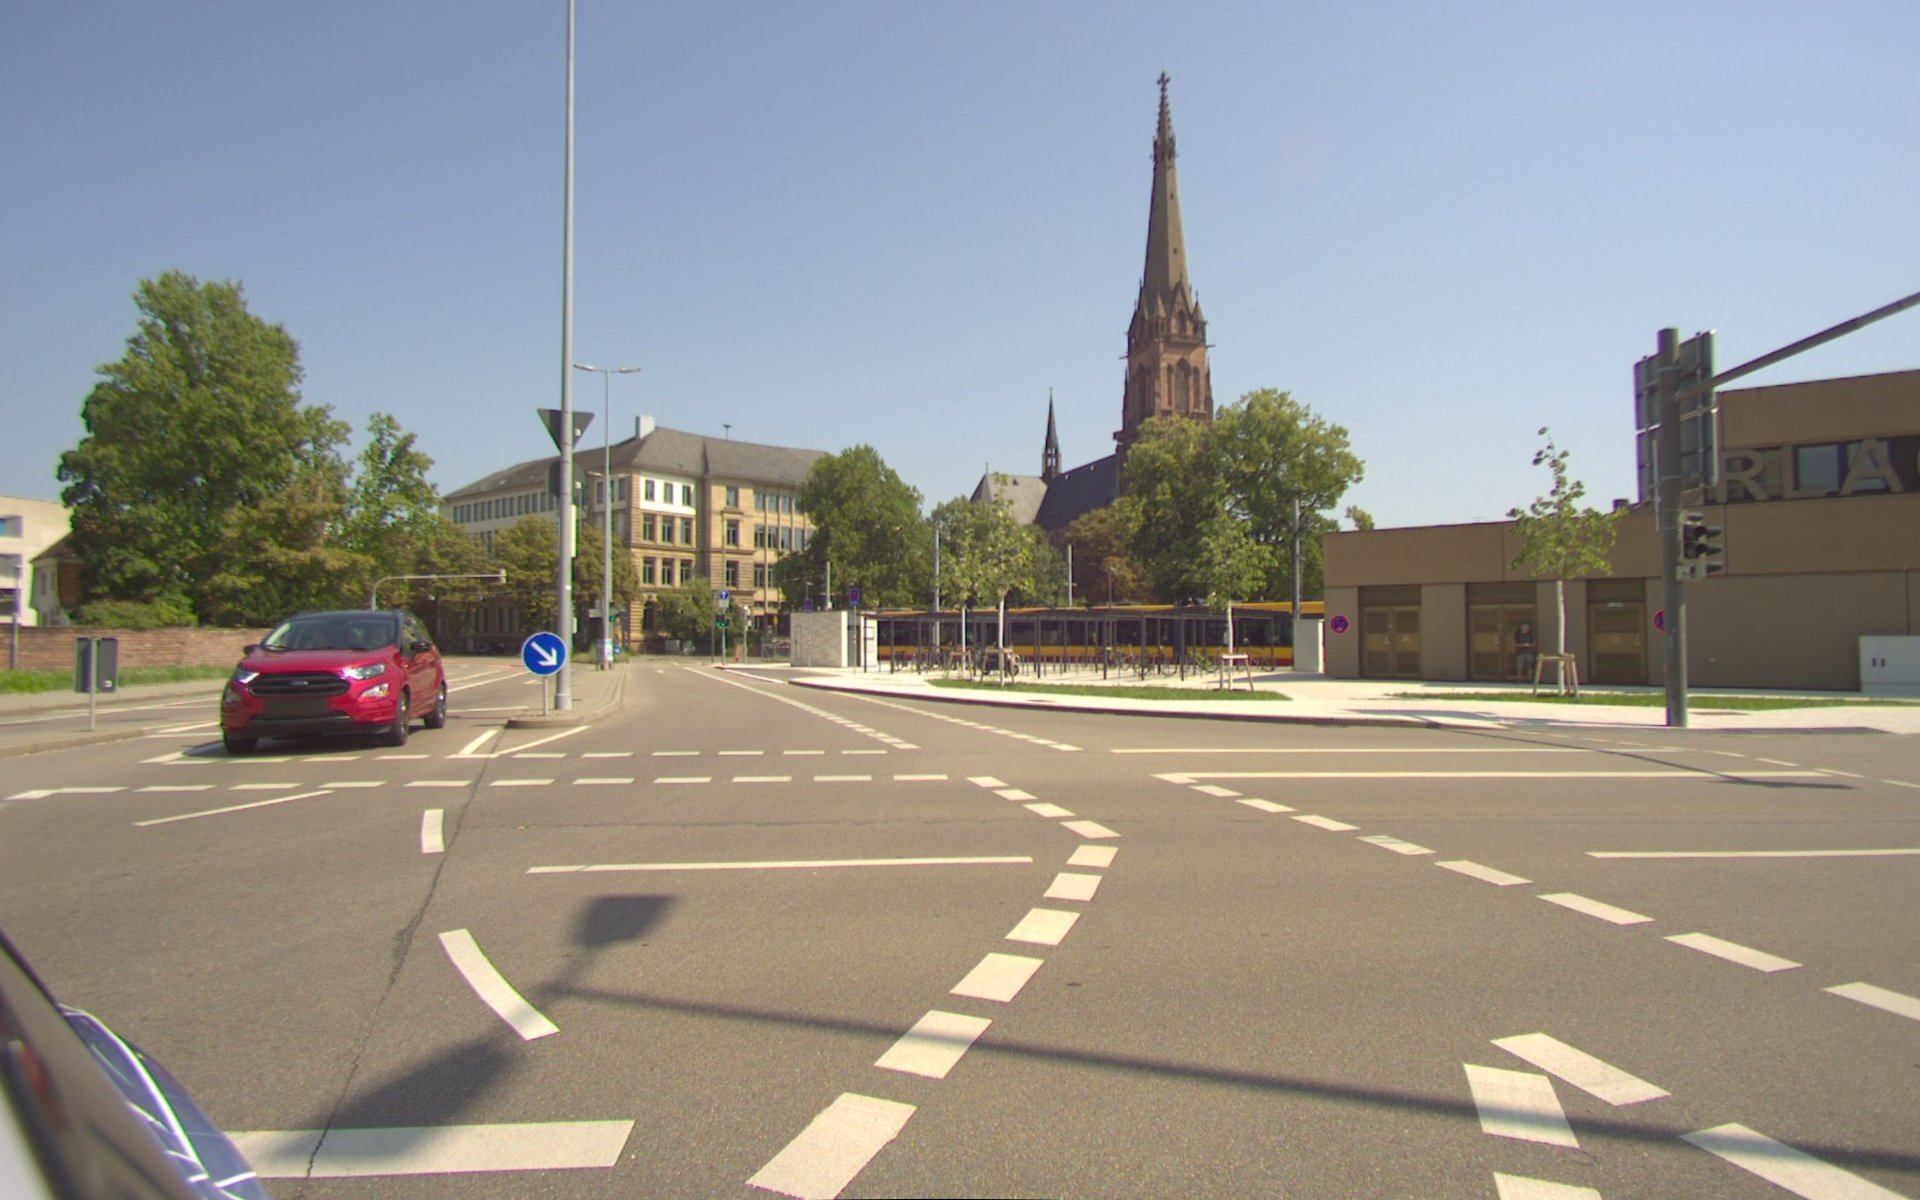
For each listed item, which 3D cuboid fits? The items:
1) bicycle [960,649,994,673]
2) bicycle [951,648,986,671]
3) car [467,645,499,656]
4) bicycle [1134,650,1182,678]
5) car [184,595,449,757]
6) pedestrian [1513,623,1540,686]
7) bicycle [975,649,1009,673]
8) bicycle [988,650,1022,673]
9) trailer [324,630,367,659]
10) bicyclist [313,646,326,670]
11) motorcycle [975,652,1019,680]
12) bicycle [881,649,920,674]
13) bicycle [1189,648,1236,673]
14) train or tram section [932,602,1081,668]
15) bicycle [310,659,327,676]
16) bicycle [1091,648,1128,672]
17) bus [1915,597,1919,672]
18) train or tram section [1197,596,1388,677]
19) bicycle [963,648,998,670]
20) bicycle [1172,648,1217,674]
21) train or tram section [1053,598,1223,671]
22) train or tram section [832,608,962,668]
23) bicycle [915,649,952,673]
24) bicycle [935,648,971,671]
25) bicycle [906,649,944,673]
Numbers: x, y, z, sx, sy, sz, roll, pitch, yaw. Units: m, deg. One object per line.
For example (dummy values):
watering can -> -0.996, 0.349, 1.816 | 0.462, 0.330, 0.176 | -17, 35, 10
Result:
bicycle -> 0.747, 2.708, 44.958 | 1.639, 1.048, 0.407 | -3, -4, 39
bicycle -> 0.392, 2.836, 48.299 | 1.768, 1.048, 0.520 | -3, -4, 39
car -> -51.906, 5.493, 110.195 | 1.247, 1.185, 3.025 | -2, -3, 32
bicycle -> 7.526, 2.430, 38.456 | 1.728, 1.048, 0.508 | -2, -4, 30
car -> -7.573, 0.847, 12.368 | 1.814, 1.627, 4.012 | 1, -2, -19
pedestrian -> 15.508, 1.492, 27.695 | 0.535, 1.691, 0.562 | -2, -3, 36
bicycle -> 1.453, 2.739, 45.704 | 1.639, 1.048, 0.407 | -3, -4, 39
bicycle -> 2.082, 2.833, 46.890 | 1.639, 1.048, 0.407 | -3, -4, 39
trailer -> -71.609, 5.178, 117.965 | 5.076, 3.313, 2.413 | -2, -3, 35
bicyclist -> -32.814, 2.968, 51.821 | 0.425, 1.242, 0.542 | 1, -3, -21
motorcycle -> 1.448, 2.602, 39.842 | 1.777, 1.077, 0.485 | -3, -4, 39
bicycle -> -2.616, 2.689, 44.567 | 1.863, 1.090, 0.520 | -3, -4, 39
bicycle -> 10.554, 2.531, 42.367 | 1.852, 0.993, 0.507 | -2, -4, 35
train or tram section -> 2.648, 2.164, 59.560 | 8.510, 3.625, 3.122 | -3, -5, 37
bicycle -> -32.810, 3.464, 51.790 | 0.430, 0.818, 1.490 | 1, -3, -21
bicycle -> 6.458, 2.593, 43.759 | 1.639, 1.048, 0.407 | -3, -4, 39
bus -> 44.357, 1.261, 37.642 | 12.461, 3.094, 3.068 | -2, -3, 37
train or tram section -> 16.123, 1.901, 49.443 | 8.231, 3.625, 3.122 | -3, -5, 37
bicycle -> 0.981, 2.879, 49.288 | 1.768, 1.048, 0.520 | -3, -4, 39
bicycle -> 9.508, 2.456, 41.016 | 1.724, 1.048, 0.509 | -1, -3, 24
train or tram section -> 9.445, 1.972, 54.456 | 8.510, 3.625, 3.122 | -3, -5, 37
train or tram section -> -4.088, 2.545, 64.594 | 8.312, 3.588, 3.099 | -3, -5, 37
bicycle -> -1.191, 2.745, 45.809 | 1.768, 1.048, 0.520 | -3, -4, 39
bicycle -> -0.334, 2.780, 47.189 | 1.768, 1.048, 0.520 | -3, -4, 39
bicycle -> -1.573, 2.729, 45.293 | 1.768, 1.048, 0.520 | -3, -4, 39
